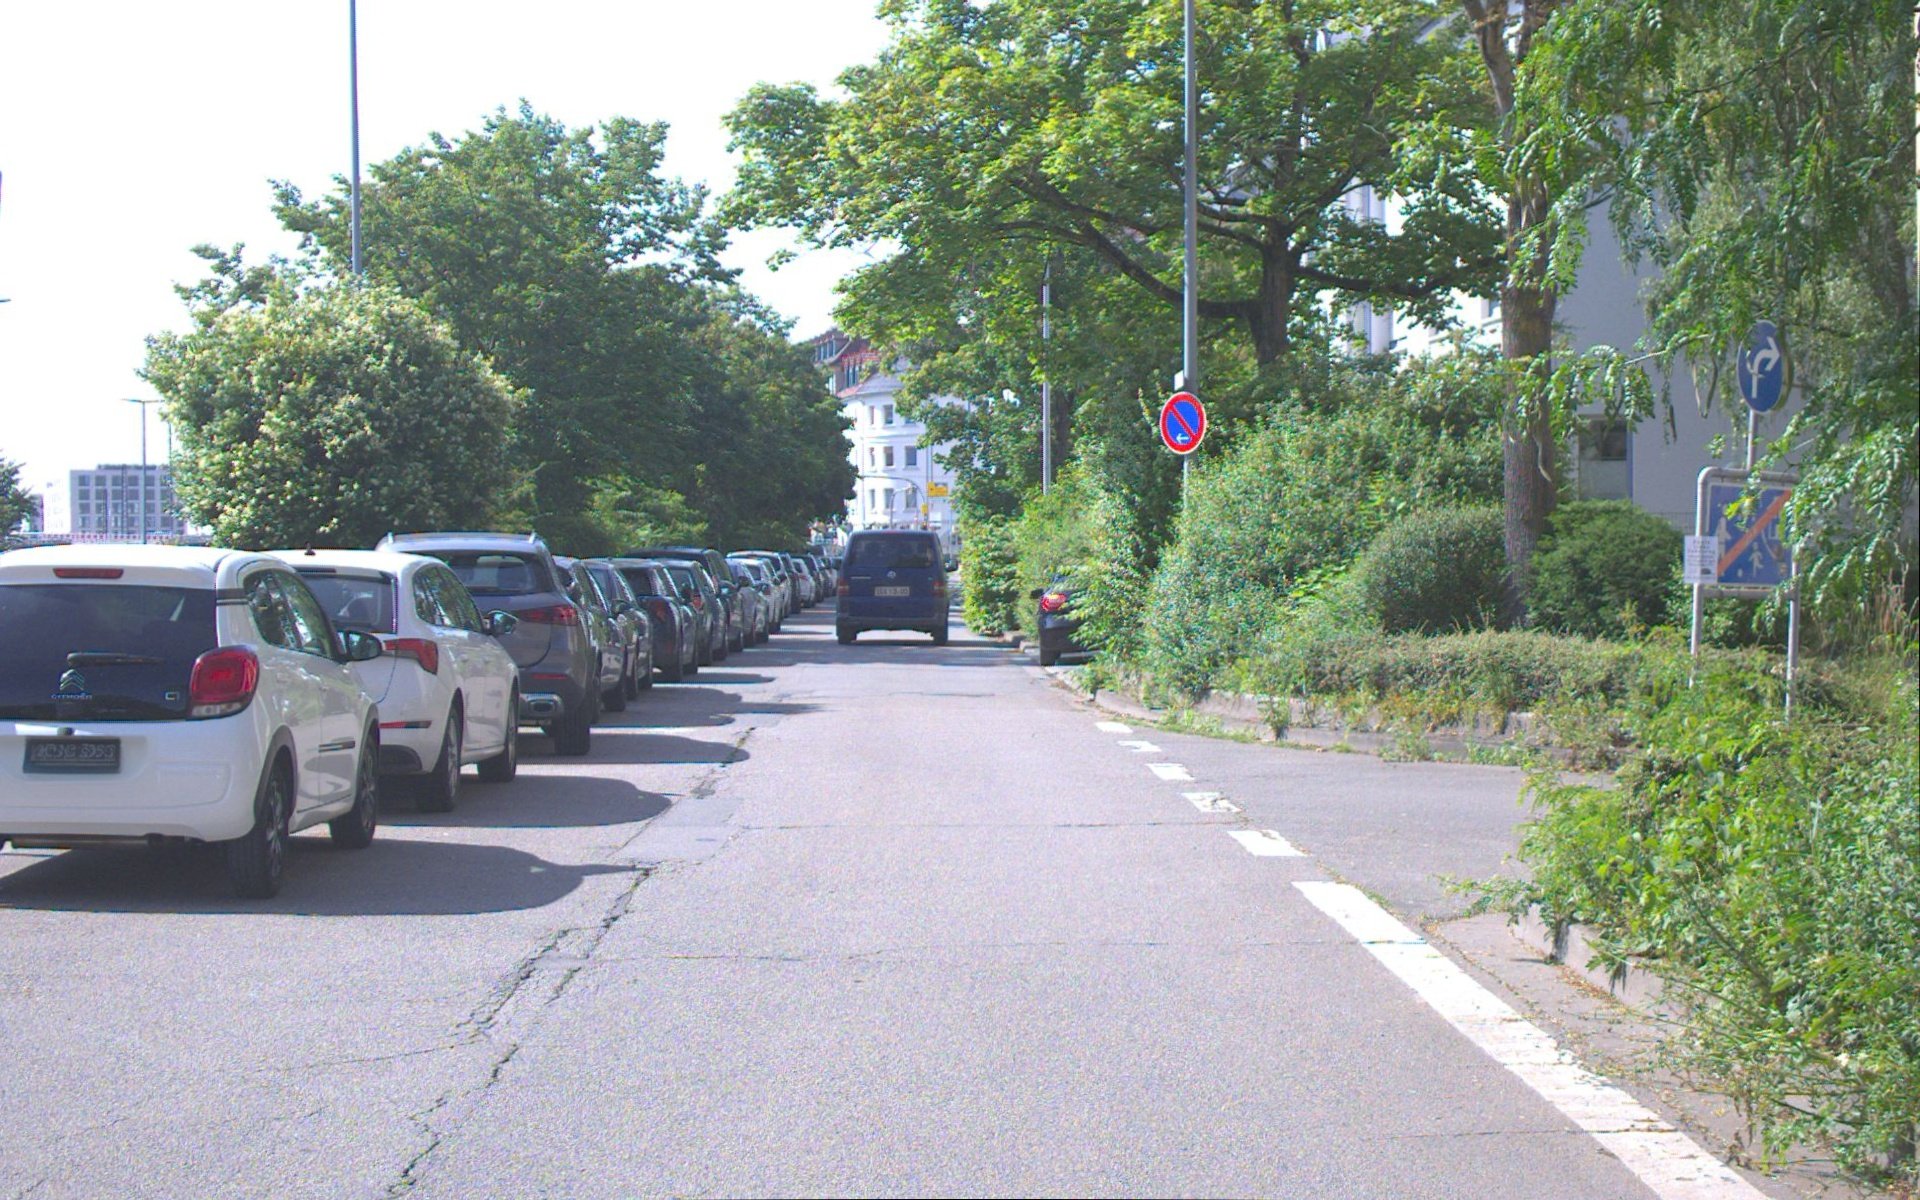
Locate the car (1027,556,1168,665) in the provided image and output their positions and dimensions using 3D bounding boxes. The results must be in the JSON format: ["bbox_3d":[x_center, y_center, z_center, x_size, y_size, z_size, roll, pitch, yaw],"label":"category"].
[{"bbox_3d":[1.907,0.121,48.729,1.726,1.415,4.000,-2,1,-1],"label":"car"}]

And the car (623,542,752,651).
[{"bbox_3d":[-4.095,-0.087,52.147,1.664,1.578,3.932,0,1,0],"label":"car"}]

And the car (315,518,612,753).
[{"bbox_3d":[-3.642,0.194,25.843,1.771,1.574,4.187,-1,2,-2],"label":"car"}]

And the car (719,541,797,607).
[{"bbox_3d":[-4.921,-0.656,84.295,1.664,1.504,4.009,2,1,0],"label":"car"}]

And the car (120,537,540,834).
[{"bbox_3d":[-3.607,0.417,20.362,1.721,1.500,4.132,2,1,0],"label":"car"}]

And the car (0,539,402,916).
[{"bbox_3d":[-3.639,0.491,15.771,1.619,1.500,3.462,0,1,0],"label":"car"}]

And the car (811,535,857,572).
[{"bbox_3d":[-5.615,-2.085,153.725,1.993,1.651,4.000,0,1,-2],"label":"car"}]

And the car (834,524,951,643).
[{"bbox_3d":[-1.138,-0.313,59.176,1.883,1.915,4.009,2,1,0],"label":"car"}]

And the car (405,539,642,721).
[{"bbox_3d":[-3.935,0.224,31.511,1.664,1.469,3.877,2,1,0],"label":"car"}]

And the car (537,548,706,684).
[{"bbox_3d":[-4.043,0.156,41.540,1.664,1.468,3.790,2,1,0],"label":"car"}]

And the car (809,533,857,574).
[{"bbox_3d":[-4.739,-1.745,128.277,1.664,1.504,4.008,0,1,0],"label":"car"}]

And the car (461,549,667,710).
[{"bbox_3d":[-4.152,0.265,36.644,1.664,1.506,4.594,2,1,0],"label":"car"}]

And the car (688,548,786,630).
[{"bbox_3d":[-4.370,-0.246,67.930,1.664,1.463,4.201,2,1,0],"label":"car"}]

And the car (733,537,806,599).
[{"bbox_3d":[-4.943,-0.857,89.404,1.664,1.504,4.009,2,1,0],"label":"car"}]

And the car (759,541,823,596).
[{"bbox_3d":[-4.922,-0.943,100.496,1.664,1.504,4.009,2,1,0],"label":"car"}]

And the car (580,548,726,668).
[{"bbox_3d":[-4.201,0.081,47.478,1.664,1.506,3.790,2,1,0],"label":"car"}]
